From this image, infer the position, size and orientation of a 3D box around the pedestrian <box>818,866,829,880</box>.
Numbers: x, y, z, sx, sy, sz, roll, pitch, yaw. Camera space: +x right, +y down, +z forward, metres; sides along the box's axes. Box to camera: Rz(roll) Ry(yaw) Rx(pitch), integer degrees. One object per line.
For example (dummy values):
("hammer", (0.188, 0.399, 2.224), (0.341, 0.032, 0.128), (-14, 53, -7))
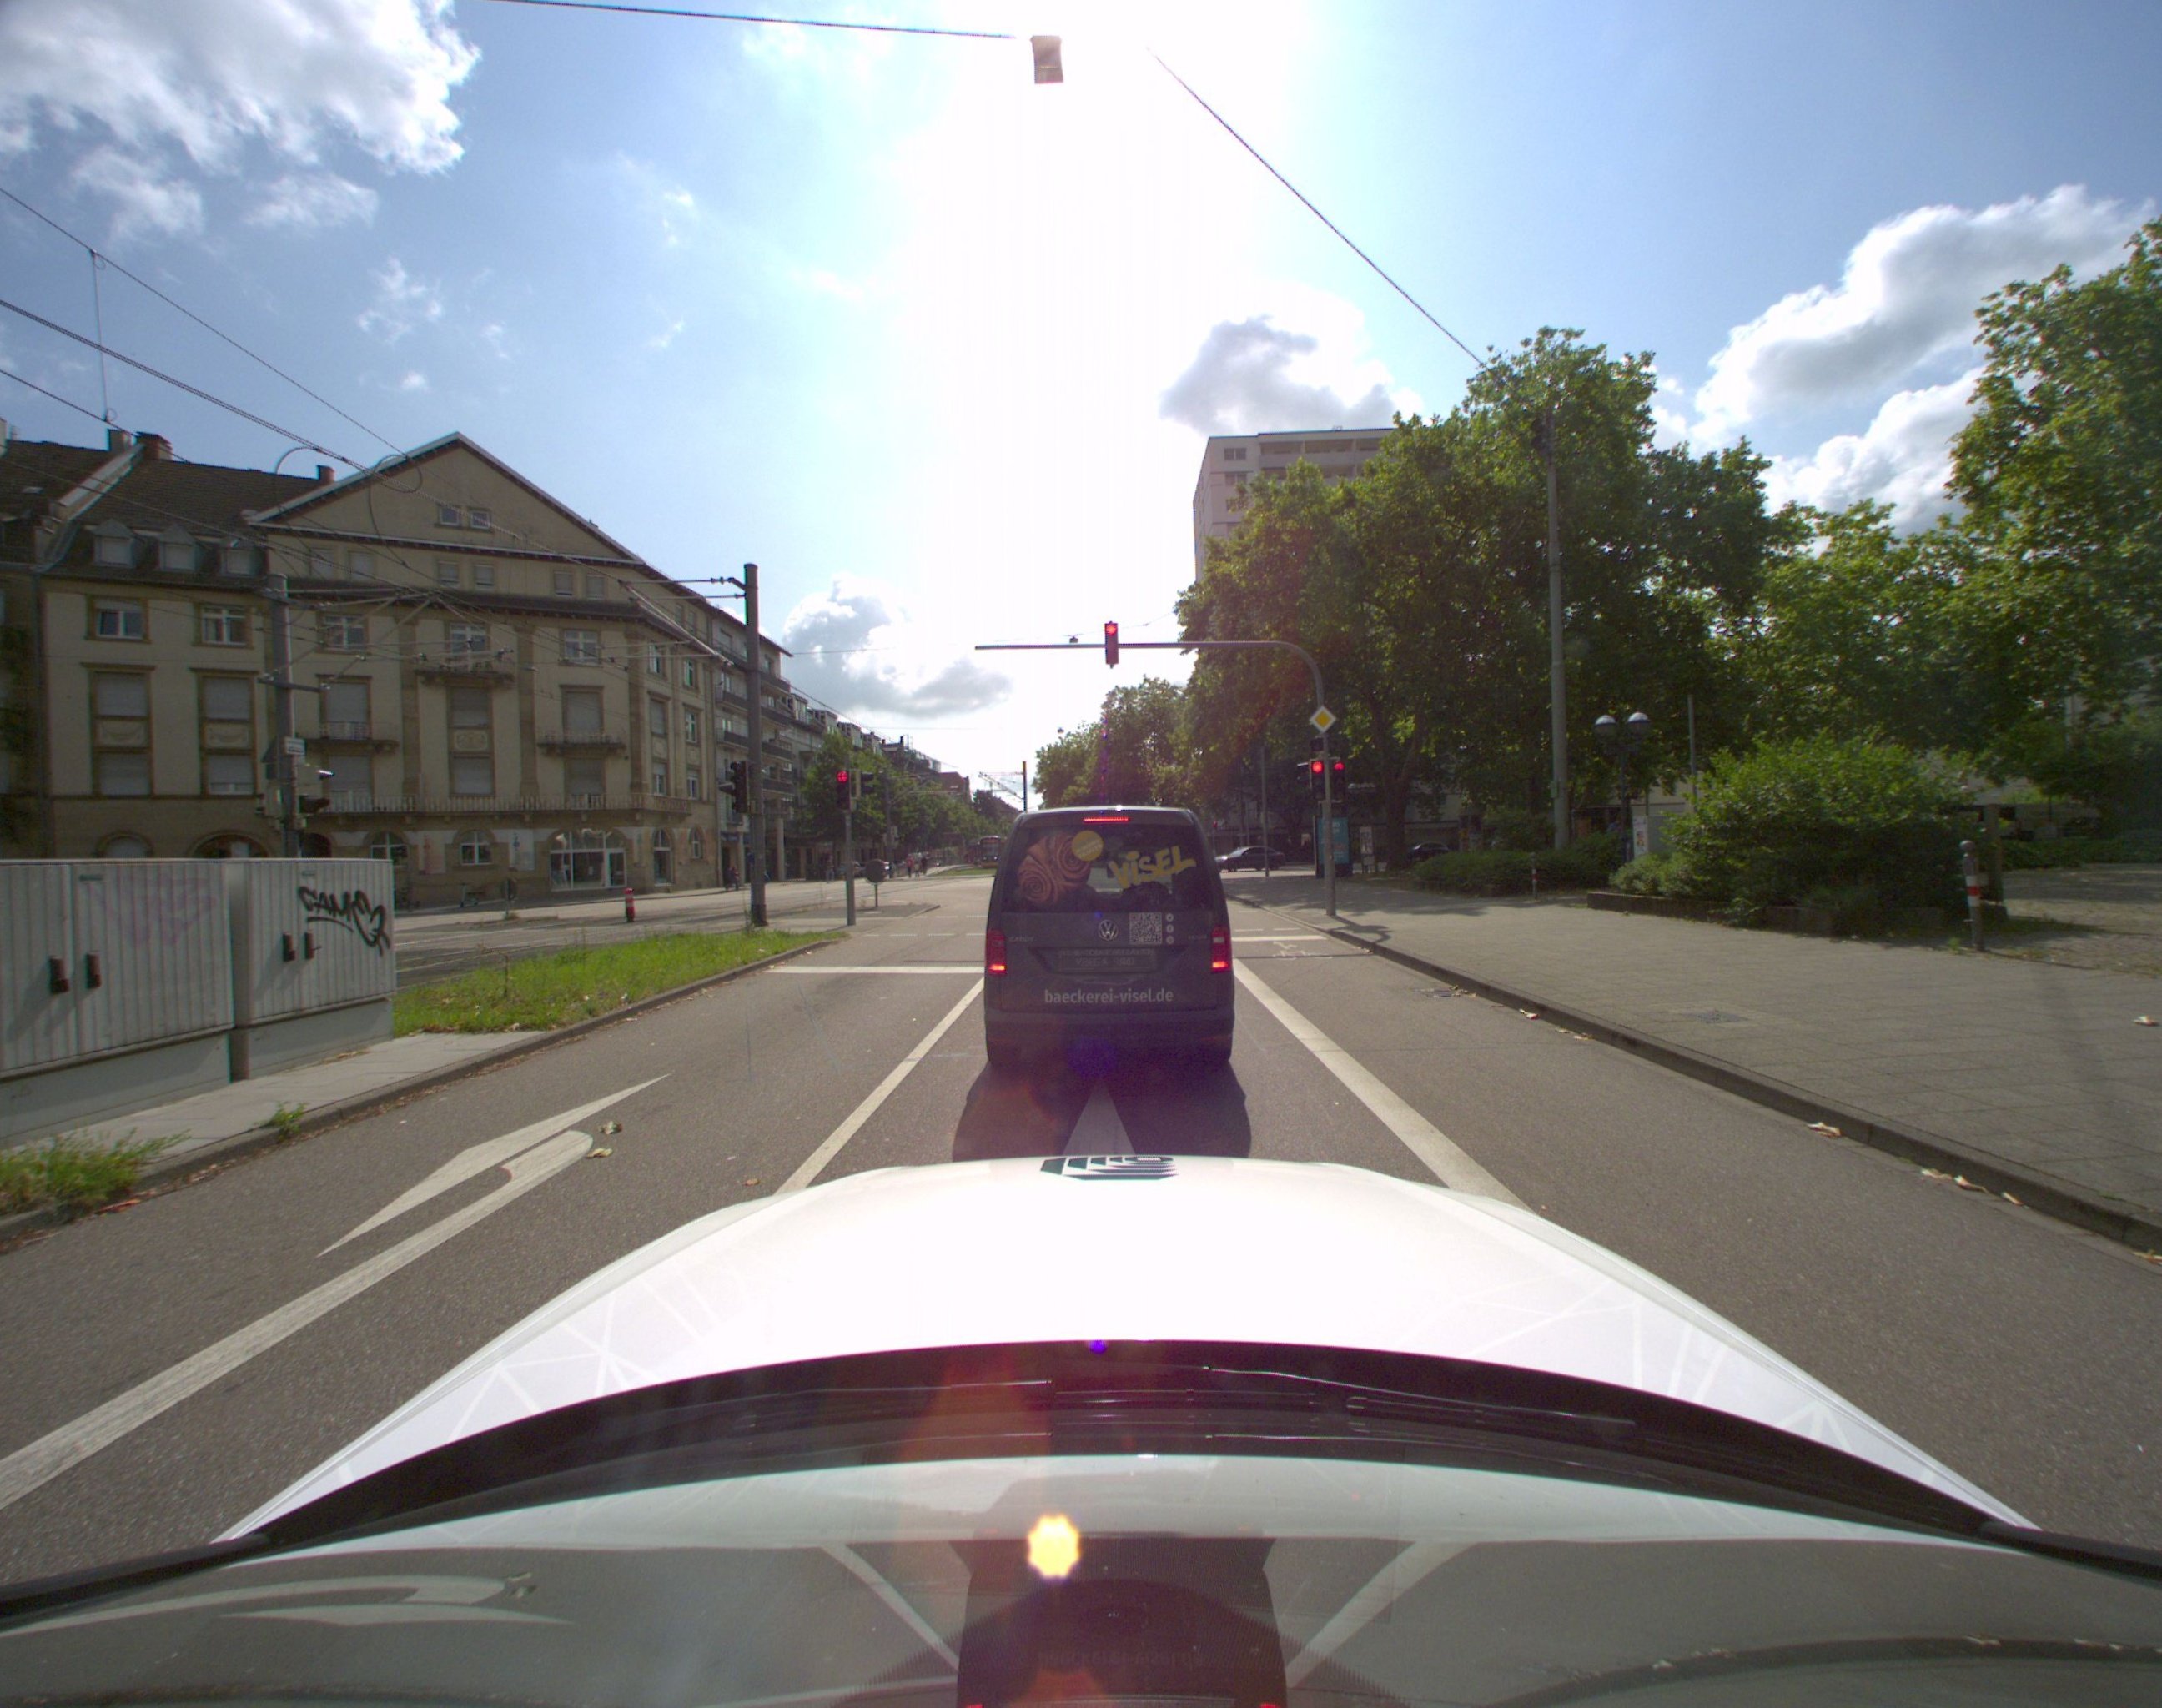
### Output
("pedestrian", (-23.175, 1.730, 73.355), (0.751, 1.211, 0.704), (-2, 0, 1))

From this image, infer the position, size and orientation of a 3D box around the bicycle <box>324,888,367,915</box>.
("bicycle", (-33.696, 2.158, 37.352), (0.808, 1.053, 2.543), (-2, 0, -27))

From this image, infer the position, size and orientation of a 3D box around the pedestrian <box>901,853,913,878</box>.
("pedestrian", (-12.571, 0.849, 58.794), (0.656, 1.784, 0.661), (-2, 0, 2))

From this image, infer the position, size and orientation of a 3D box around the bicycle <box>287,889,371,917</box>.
("bicycle", (-32.994, 2.146, 35.783), (2.571, 1.053, 0.676), (-3, 0, -26))

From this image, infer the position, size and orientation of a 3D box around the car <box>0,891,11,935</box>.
("car", (-43.756, 2.363, 31.537), (3.950, 1.673, 2.012), (-2, 0, 26))

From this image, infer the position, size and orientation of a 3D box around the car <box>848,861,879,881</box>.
("car", (-23.433, 1.786, 87.887), (1.986, 2.013, 4.002), (-2, 0, 2))

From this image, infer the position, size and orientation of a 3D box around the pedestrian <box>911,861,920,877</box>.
("pedestrian", (-11.934, 1.067, 58.756), (0.462, 1.144, 0.435), (-2, 0, 2))

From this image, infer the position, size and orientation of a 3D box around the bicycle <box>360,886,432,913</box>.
("bicycle", (-31.985, 2.115, 38.083), (0.797, 1.053, 2.576), (-2, 0, 14))

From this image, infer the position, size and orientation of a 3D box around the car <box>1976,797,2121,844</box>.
("car", (46.900, -1.575, 39.554), (4.396, 2.013, 2.079), (-2, 0, 3))

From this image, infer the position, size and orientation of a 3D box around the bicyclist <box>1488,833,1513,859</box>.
("bicyclist", (25.053, -0.466, 48.622), (0.996, 1.511, 0.779), (-2, 0, -6))

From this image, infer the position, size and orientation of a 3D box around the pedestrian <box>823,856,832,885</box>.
("pedestrian", (-17.863, 1.173, 57.381), (0.476, 2.013, 0.419), (-2, 0, -4))

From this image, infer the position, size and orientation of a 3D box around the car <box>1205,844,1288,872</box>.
("car", (9.542, 0.219, 47.059), (4.499, 1.390, 1.694), (-2, 0, -22))

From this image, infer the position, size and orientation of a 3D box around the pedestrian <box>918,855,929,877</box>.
("pedestrian", (-12.284, 0.929, 63.562), (0.656, 1.685, 0.656), (-2, 0, 2))

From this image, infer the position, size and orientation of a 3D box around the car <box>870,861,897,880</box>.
("car", (-23.327, 1.900, 96.398), (1.986, 2.013, 4.002), (-2, 0, 2))

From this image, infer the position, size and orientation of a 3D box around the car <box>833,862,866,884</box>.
("car", (-23.593, 1.917, 83.192), (1.986, 2.013, 4.002), (-2, 0, 2))

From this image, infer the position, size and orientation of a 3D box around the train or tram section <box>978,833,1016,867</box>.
("train or tram section", (-9.079, -0.456, 89.806), (2.232, 3.331, 12.978), (-2, 0, 2))

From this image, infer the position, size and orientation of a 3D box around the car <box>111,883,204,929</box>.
("car", (-38.502, 2.140, 33.940), (3.948, 1.674, 2.013), (-2, 0, 34))

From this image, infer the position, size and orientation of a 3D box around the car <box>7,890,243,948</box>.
("car", (-30.455, 2.044, 26.152), (4.574, 1.436, 1.694), (-2, 0, -22))

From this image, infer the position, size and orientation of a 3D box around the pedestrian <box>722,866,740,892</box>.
("pedestrian", (-22.154, 1.549, 51.547), (0.865, 1.596, 0.687), (-2, 0, -32))

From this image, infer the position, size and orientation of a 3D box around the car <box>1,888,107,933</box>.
("car", (-41.511, 2.273, 32.925), (3.950, 1.639, 1.813), (-2, 0, 26))

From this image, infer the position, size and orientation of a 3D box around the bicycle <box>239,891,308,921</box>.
("bicycle", (-34.053, 2.167, 34.389), (1.985, 1.114, 0.482), (-3, 0, -35))

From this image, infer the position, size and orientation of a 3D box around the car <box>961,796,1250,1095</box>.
("car", (0.214, 0.554, 6.719), (1.743, 1.808, 3.476), (-1, 0, 2))

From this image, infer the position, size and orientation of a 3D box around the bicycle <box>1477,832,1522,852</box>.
("bicycle", (24.963, -0.709, 48.604), (2.299, 1.048, 0.895), (-2, 0, -6))
